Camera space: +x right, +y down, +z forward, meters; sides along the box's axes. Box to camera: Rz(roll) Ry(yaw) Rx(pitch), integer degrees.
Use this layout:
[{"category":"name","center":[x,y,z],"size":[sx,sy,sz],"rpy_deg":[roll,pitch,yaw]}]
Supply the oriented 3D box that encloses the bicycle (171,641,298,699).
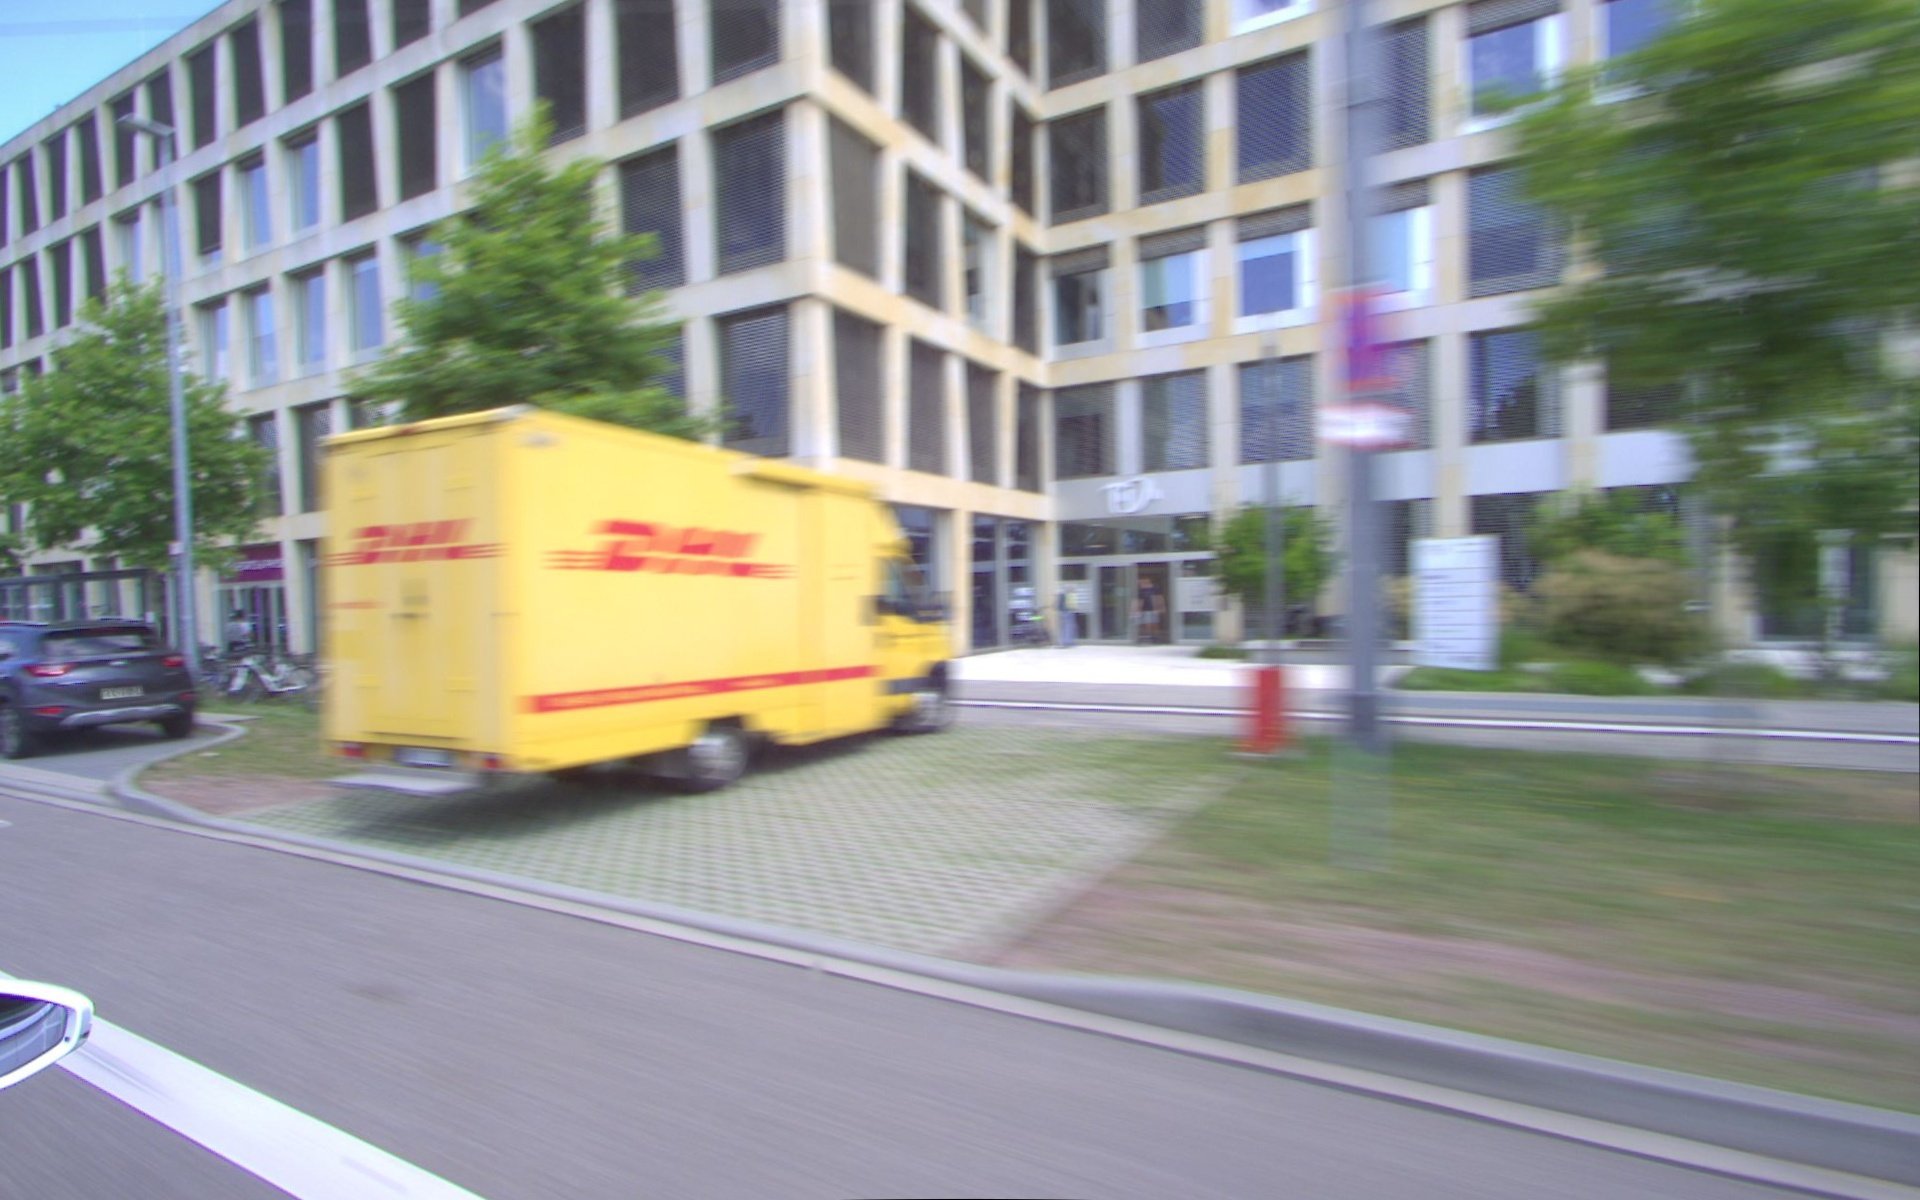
[{"category":"bicycle","center":[-13.205,1.273,18.291],"size":[0.432,1.006,1.841],"rpy_deg":[-1,-4,28]}]

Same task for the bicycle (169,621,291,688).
[{"category":"bicycle","center":[-14.154,1.029,19.477],"size":[0.473,1.141,1.838],"rpy_deg":[-1,2,28]}]

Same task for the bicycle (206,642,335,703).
[{"category":"bicycle","center":[-12.029,1.258,17.547],"size":[0.432,1.006,1.841],"rpy_deg":[-1,-4,28]}]

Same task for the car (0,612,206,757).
[{"category":"car","center":[-11.422,0.944,12.554],"size":[4.007,1.525,1.688],"rpy_deg":[-1,1,30]}]

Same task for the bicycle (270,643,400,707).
[{"category":"bicycle","center":[-10.295,1.210,16.562],"size":[0.432,0.952,1.840],"rpy_deg":[-1,-1,28]}]

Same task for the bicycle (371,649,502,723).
[{"category":"bicycle","center":[-7.816,1.258,15.033],"size":[0.376,0.969,1.839],"rpy_deg":[-1,-1,29]}]

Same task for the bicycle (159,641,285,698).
[{"category":"bicycle","center":[-13.616,1.281,18.527],"size":[0.432,1.006,1.841],"rpy_deg":[-1,-4,28]}]

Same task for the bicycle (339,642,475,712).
[{"category":"bicycle","center":[-8.450,1.149,15.389],"size":[0.505,0.952,1.840],"rpy_deg":[-1,-1,28]}]

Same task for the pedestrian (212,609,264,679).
[{"category":"pedestrian","center":[-16.646,0.996,23.082],"size":[0.892,1.572,0.636],"rpy_deg":[0,1,30]}]

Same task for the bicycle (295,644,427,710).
[{"category":"bicycle","center":[-9.553,1.204,16.048],"size":[0.432,0.952,1.840],"rpy_deg":[-1,-1,28]}]

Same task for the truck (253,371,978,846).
[{"category":"truck","center":[-2.448,0.034,9.715],"size":[2.416,2.905,6.799],"rpy_deg":[-1,1,28]}]

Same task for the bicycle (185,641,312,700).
[{"category":"bicycle","center":[-12.801,1.264,18.075],"size":[0.432,1.006,1.841],"rpy_deg":[-1,-4,28]}]

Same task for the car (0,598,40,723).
[{"category":"car","center":[-16.081,0.914,15.189],"size":[4.767,1.791,1.766],"rpy_deg":[-1,1,30]}]

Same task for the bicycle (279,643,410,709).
[{"category":"bicycle","center":[-9.952,1.206,16.270],"size":[0.432,0.952,1.840],"rpy_deg":[-1,-1,28]}]

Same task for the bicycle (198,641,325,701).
[{"category":"bicycle","center":[-12.403,1.257,17.841],"size":[0.432,1.006,1.841],"rpy_deg":[-1,-4,28]}]

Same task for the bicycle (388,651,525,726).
[{"category":"bicycle","center":[-7.399,1.270,14.801],"size":[0.512,0.969,1.839],"rpy_deg":[-1,-1,29]}]

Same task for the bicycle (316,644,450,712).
[{"category":"bicycle","center":[-9.090,1.202,15.858],"size":[0.505,0.952,1.840],"rpy_deg":[-1,-1,28]}]
